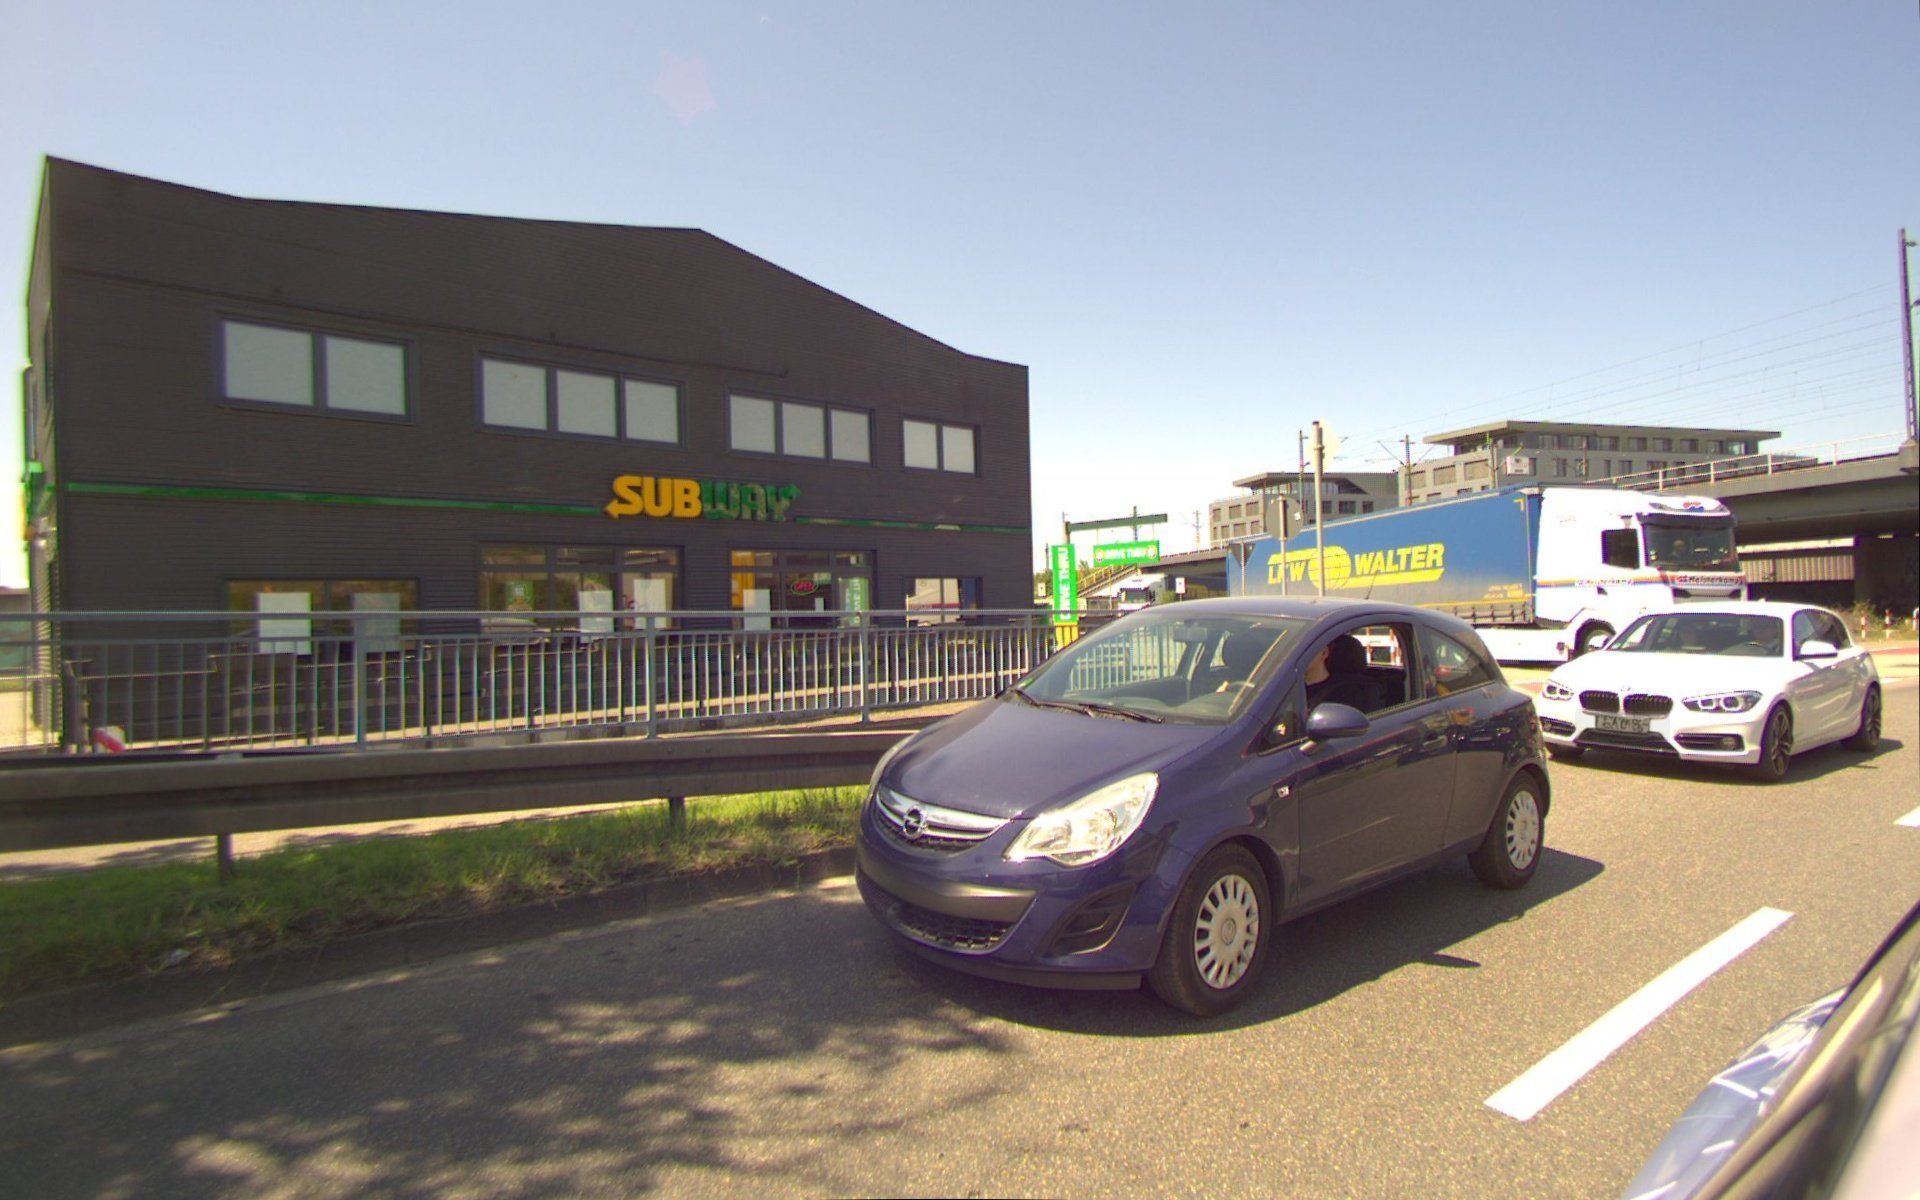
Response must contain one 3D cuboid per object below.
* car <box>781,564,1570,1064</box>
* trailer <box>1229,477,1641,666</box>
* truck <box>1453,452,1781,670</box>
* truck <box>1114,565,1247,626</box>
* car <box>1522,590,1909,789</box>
[{"bbox_3d":[1.237,0.634,4.821,3.820,1.462,1.650,0,-1,-39],"label":"car"},{"bbox_3d":[12.344,-0.532,29.135,2.448,4.142,13.929,-1,-1,-14],"label":"trailer"},{"bbox_3d":[14.094,-0.696,22.343,2.522,4.155,5.771,-1,-1,-13],"label":"truck"},{"bbox_3d":[17.178,-0.412,77.022,2.738,4.155,17.205,-1,0,38],"label":"truck"},{"bbox_3d":[7.150,0.652,9.469,3.976,1.461,1.764,0,1,-35],"label":"car"}]
